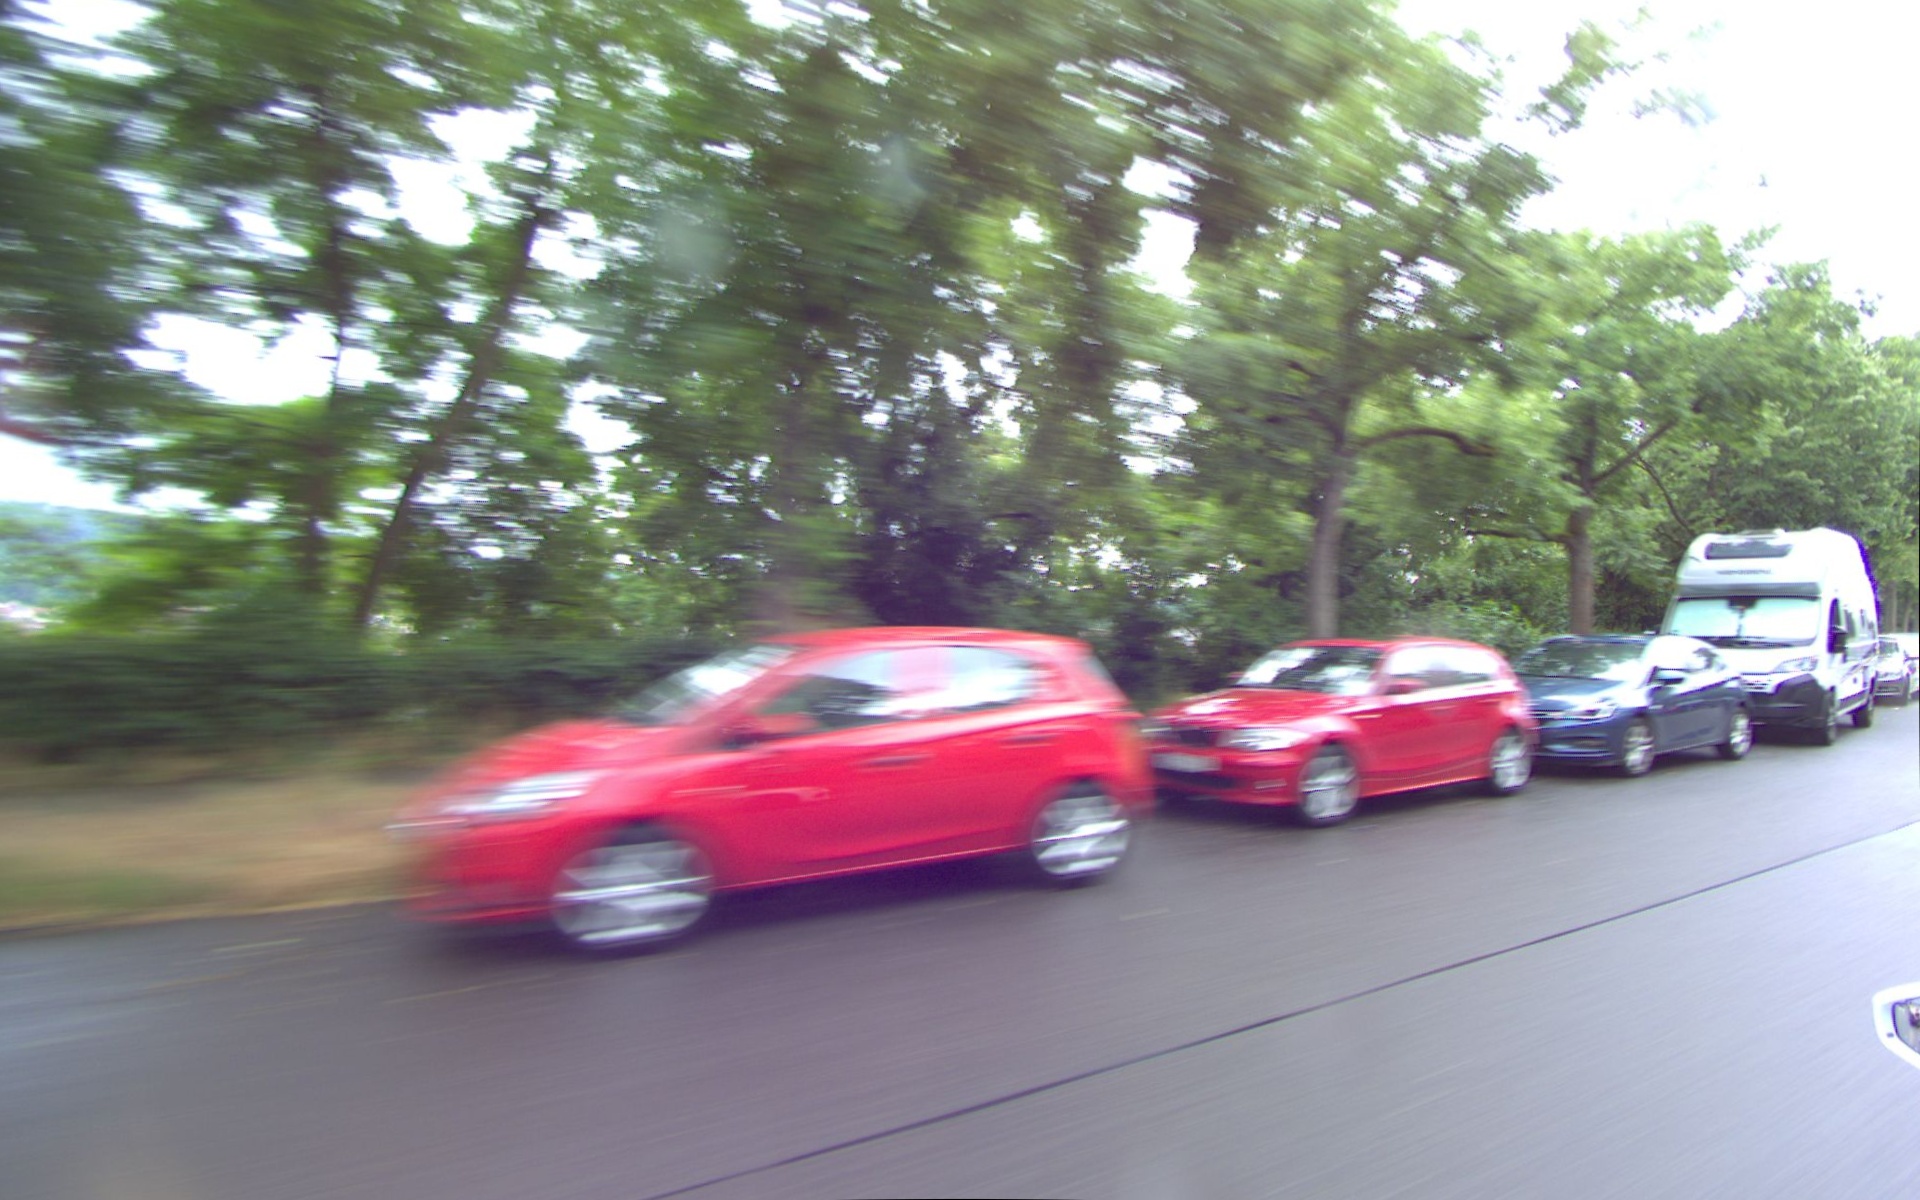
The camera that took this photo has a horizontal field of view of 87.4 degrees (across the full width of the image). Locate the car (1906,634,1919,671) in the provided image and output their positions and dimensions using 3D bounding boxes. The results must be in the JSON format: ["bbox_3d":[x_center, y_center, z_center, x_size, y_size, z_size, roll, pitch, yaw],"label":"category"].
[{"bbox_3d":[39.432,2.122,40.391,4.387,1.421,1.738,3,-1,-43],"label":"car"}]

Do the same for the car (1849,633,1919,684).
[{"bbox_3d":[28.796,1.765,30.572,4.676,1.423,1.977,2,-2,-40],"label":"car"}]

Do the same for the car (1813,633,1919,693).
[{"bbox_3d":[24.773,1.626,27.004,4.673,1.424,1.978,1,-1,-39],"label":"car"}]

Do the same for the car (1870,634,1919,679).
[{"bbox_3d":[32.707,1.908,34.192,4.676,1.423,1.977,2,-2,-40],"label":"car"}]

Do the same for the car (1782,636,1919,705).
[{"bbox_3d":[20.514,1.515,22.835,5.313,1.326,1.976,1,-2,-41],"label":"car"}]

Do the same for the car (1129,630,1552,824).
[{"bbox_3d":[3.511,1.015,9.206,3.506,1.426,1.943,1,-3,-33],"label":"car"}]

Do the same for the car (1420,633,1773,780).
[{"bbox_3d":[7.518,1.120,11.779,4.163,1.426,1.943,1,-3,-33],"label":"car"}]

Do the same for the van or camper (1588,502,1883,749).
[{"bbox_3d":[12.205,0.461,15.578,6.513,3.066,2.483,2,-3,-42],"label":"van or camper"}]

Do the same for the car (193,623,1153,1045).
[{"bbox_3d":[-1.281,0.907,5.587,4.524,1.480,1.944,1,-3,-32],"label":"car"}]
